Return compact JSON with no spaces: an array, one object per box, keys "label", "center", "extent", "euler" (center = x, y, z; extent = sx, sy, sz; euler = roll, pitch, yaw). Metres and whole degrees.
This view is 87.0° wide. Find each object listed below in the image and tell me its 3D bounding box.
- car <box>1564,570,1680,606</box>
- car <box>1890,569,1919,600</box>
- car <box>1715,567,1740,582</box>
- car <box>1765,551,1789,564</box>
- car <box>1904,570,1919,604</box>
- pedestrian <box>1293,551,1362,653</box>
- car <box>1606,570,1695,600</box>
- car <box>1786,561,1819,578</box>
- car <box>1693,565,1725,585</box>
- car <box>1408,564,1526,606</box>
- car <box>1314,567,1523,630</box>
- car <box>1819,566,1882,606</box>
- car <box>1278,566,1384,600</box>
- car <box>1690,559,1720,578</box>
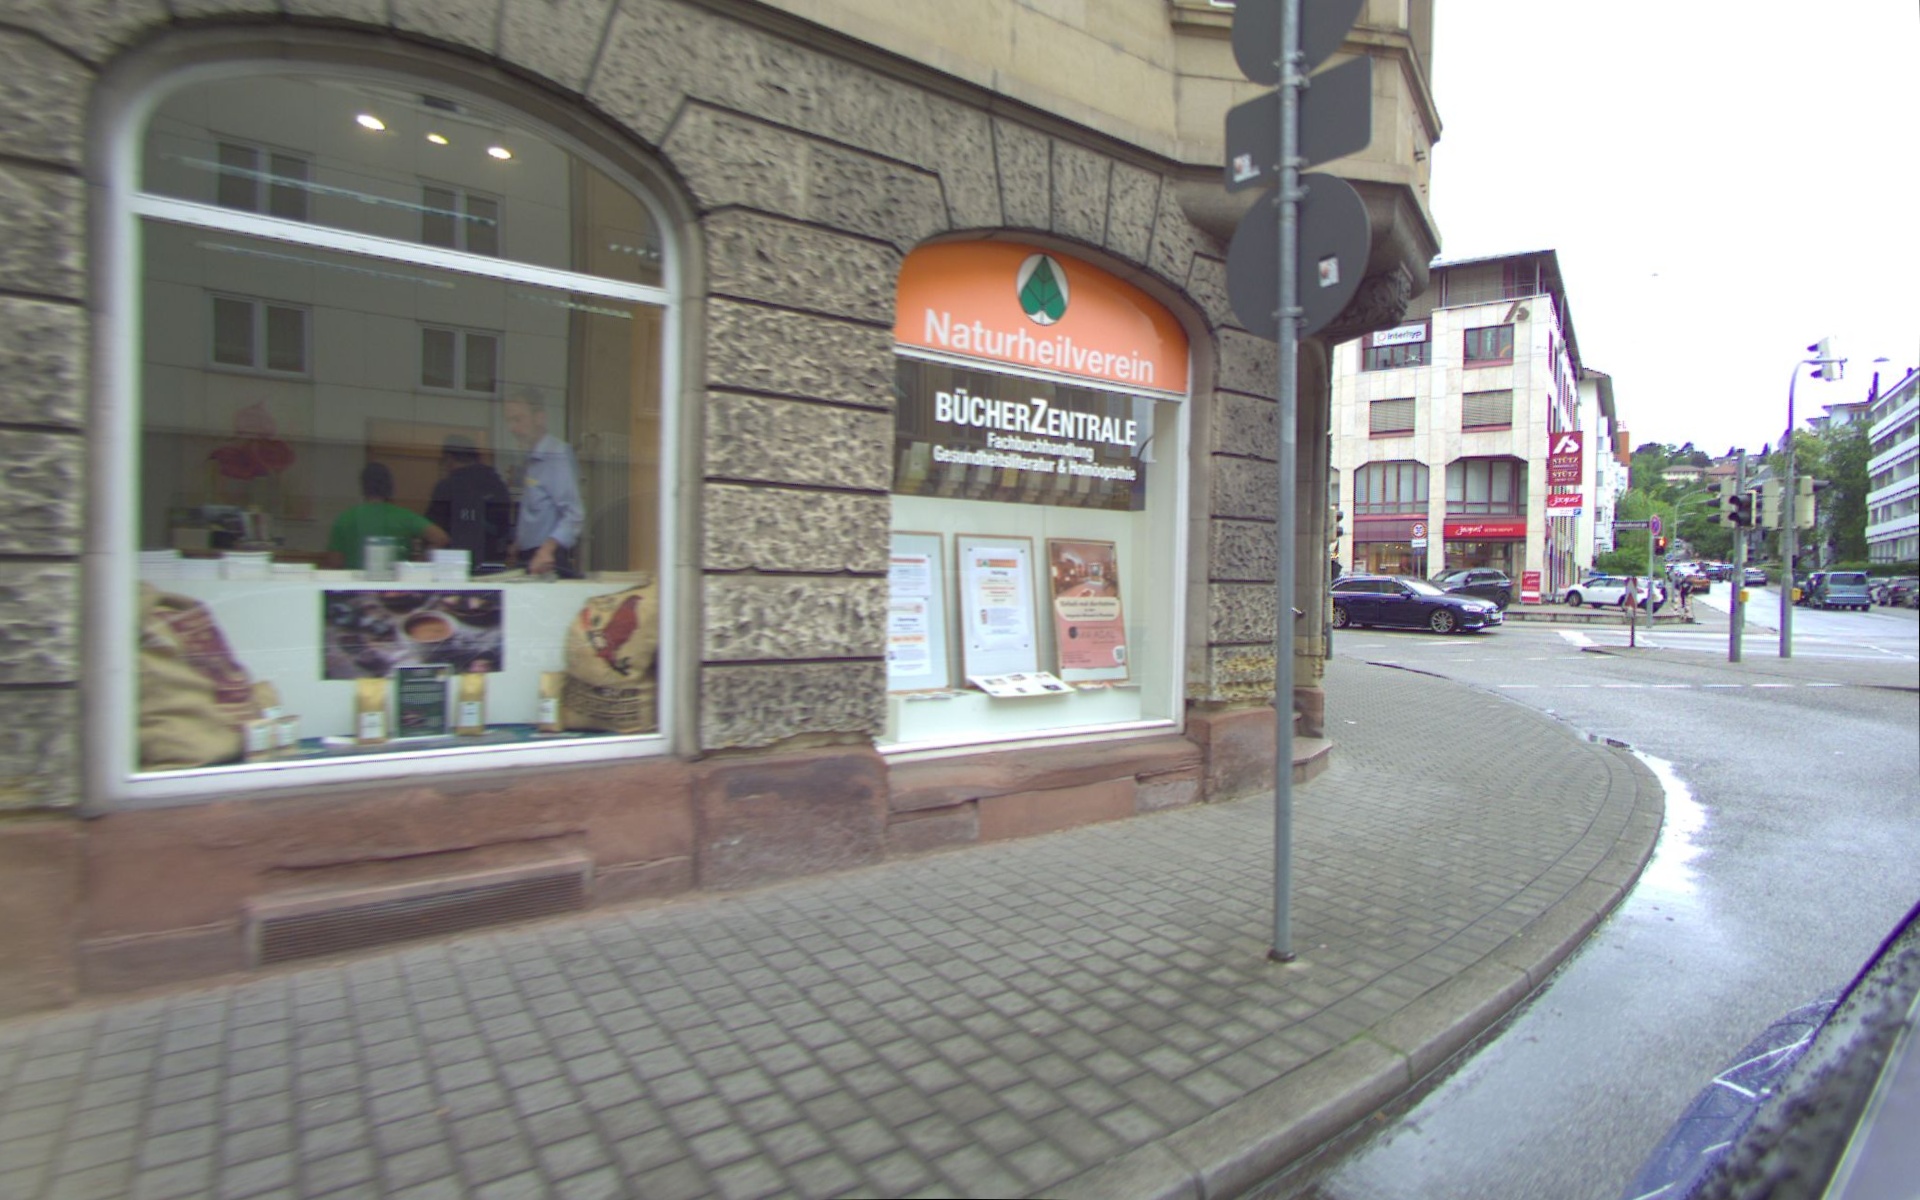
[{"label":"car","center":[29.470,-0.570,45.180],"extent":[1.763,1.513,4.009],"euler":[-1,2,-22]},{"label":"car","center":[51.881,-0.877,54.566],"extent":[1.988,1.604,3.950],"euler":[2,3,35]},{"label":"car","center":[84.666,-2.846,111.650],"extent":[1.988,1.604,4.601],"euler":[2,3,35]},{"label":"car","center":[100.207,-5.195,124.197],"extent":[1.988,1.604,4.601],"euler":[2,3,35]},{"label":"car","center":[48.790,-0.725,50.355],"extent":[1.987,1.605,3.950],"euler":[-5,-1,35]},{"label":"pedestrian","center":[6.723,0.013,18.566],"extent":[0.939,1.802,1.182],"euler":[0,2,9]},{"label":"car","center":[38.291,-0.870,56.127],"extent":[3.978,1.526,1.974],"euler":[2,3,37]},{"label":"car","center":[79.770,-2.883,95.890],"extent":[1.988,1.604,4.601],"euler":[2,3,35]},{"label":"car","center":[61.575,-2.081,83.268],"extent":[1.988,1.604,4.601],"euler":[2,3,35]},{"label":"car","center":[19.771,-0.625,39.450],"extent":[4.170,1.568,1.937],"euler":[-1,2,-25]},{"label":"car","center":[11.652,-0.116,26.004],"extent":[1.898,1.434,4.528],"euler":[-1,3,-37]},{"label":"car","center":[45.885,-0.779,52.229],"extent":[1.988,1.938,3.950],"euler":[2,3,35]},{"label":"car","center":[15.894,-0.774,43.343],"extent":[4.114,1.377,1.937],"euler":[-1,2,-26]},{"label":"car","center":[64.689,-2.780,87.884],"extent":[1.988,1.604,4.601],"euler":[2,3,35]}]
